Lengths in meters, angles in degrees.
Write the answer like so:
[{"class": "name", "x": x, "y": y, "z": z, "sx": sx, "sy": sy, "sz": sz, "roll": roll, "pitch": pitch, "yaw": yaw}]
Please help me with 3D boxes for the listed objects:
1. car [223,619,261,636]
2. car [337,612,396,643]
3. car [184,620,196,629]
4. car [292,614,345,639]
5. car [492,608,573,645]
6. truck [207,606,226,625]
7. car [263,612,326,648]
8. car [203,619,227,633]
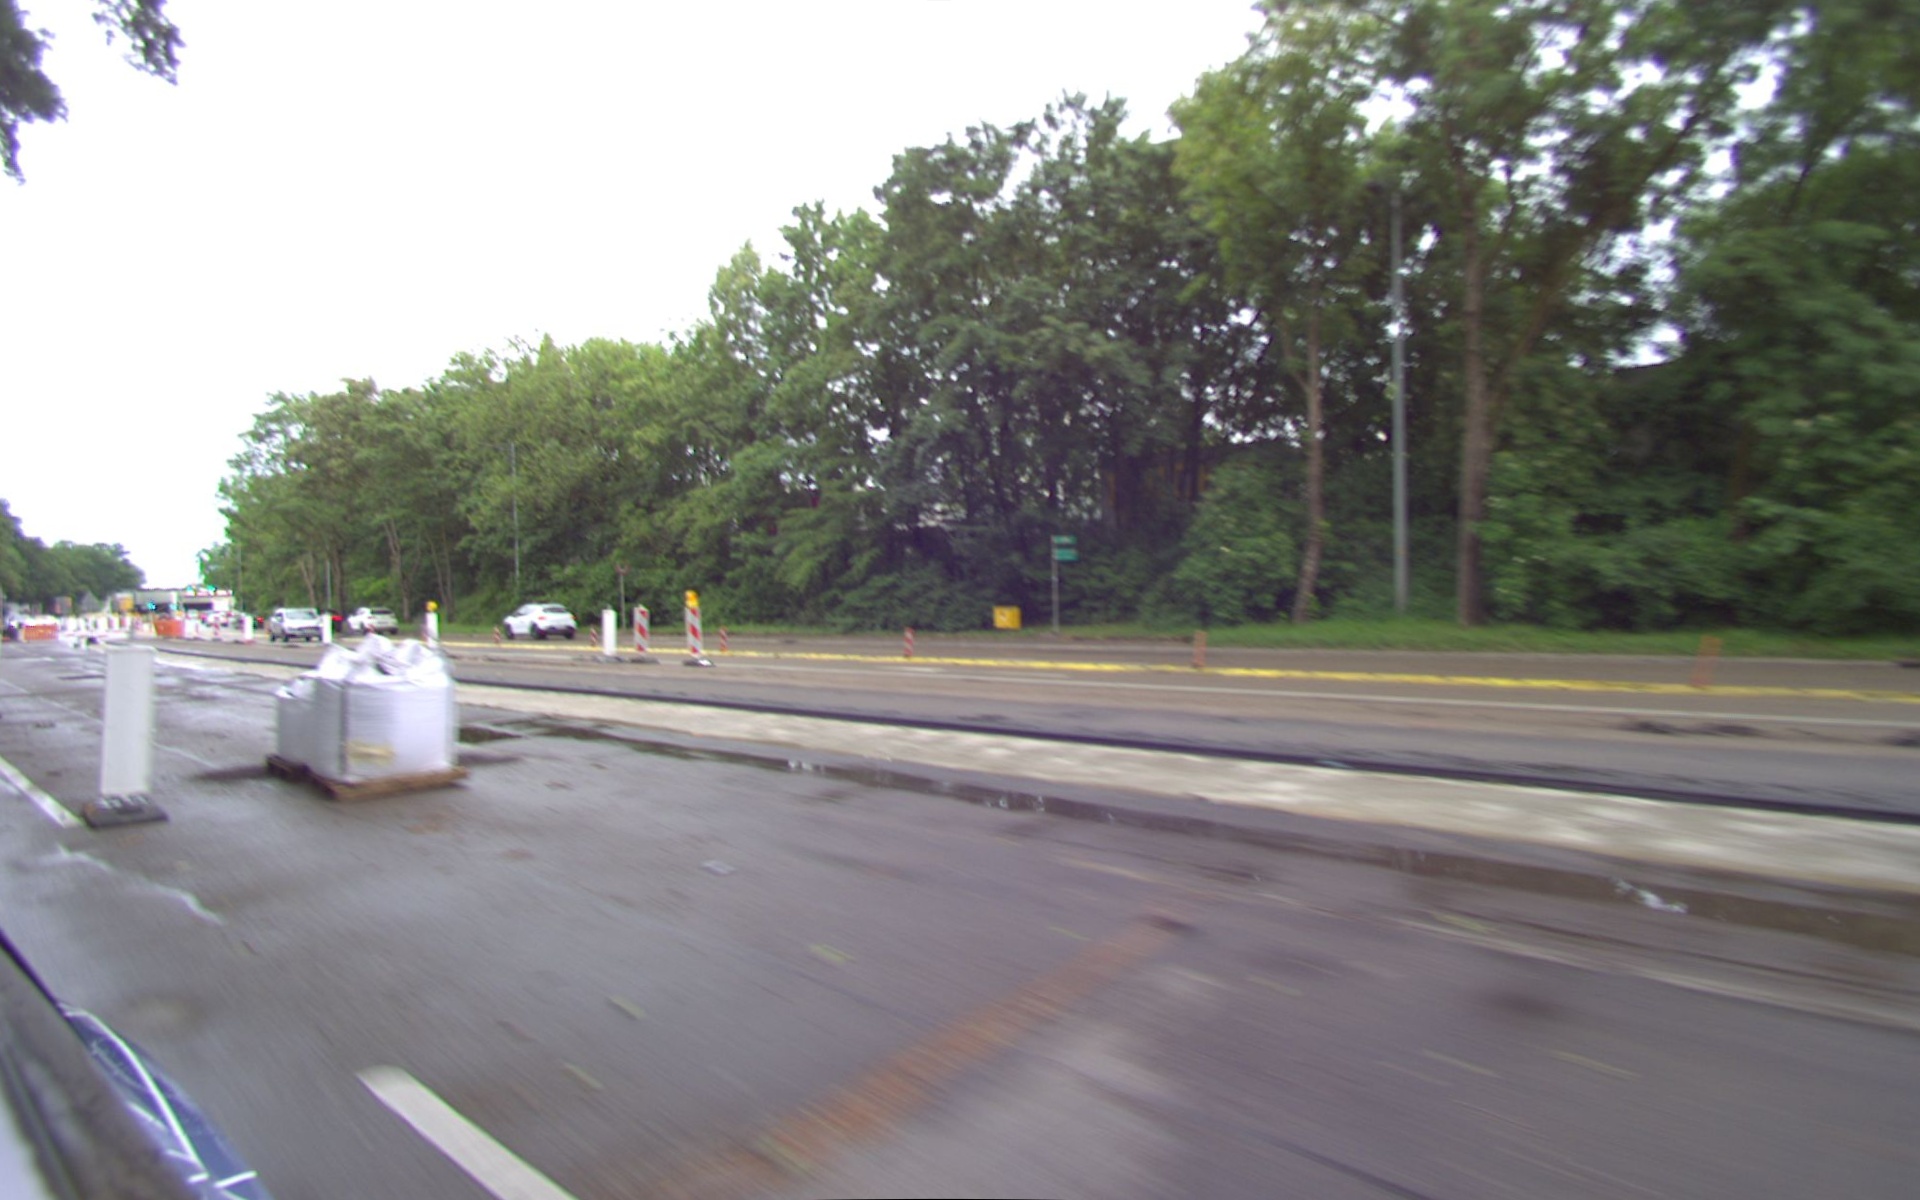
[{"class": "car", "x": -64.434, "y": 2.451, "z": 90.793, "sx": 4.681, "sy": 1.463, "sz": 1.765, "roll": -2, "pitch": -1, "yaw": 42}, {"class": "car", "x": -35.543, "y": 1.616, "z": 60.573, "sx": 4.377, "sy": 1.764, "sz": 1.758, "roll": -2, "pitch": -1, "yaw": 41}, {"class": "car", "x": -143.186, "y": 4.556, "z": 188.216, "sx": 1.653, "sy": 1.626, "sz": 3.777, "roll": 1, "pitch": -2, "yaw": -37}, {"class": "car", "x": -44.618, "y": 1.818, "z": 70.323, "sx": 4.912, "sy": 1.676, "sz": 1.758, "roll": -2, "pitch": -2, "yaw": 41}, {"class": "car", "x": -18.751, "y": 1.188, "z": 44.337, "sx": 4.156, "sy": 1.553, "sz": 1.649, "roll": -2, "pitch": -3, "yaw": 42}, {"class": "truck", "x": -157.072, "y": 3.190, "z": 213.851, "sx": 3.101, "sy": 3.860, "sz": 9.670, "roll": 0, "pitch": -1, "yaw": -35}, {"class": "car", "x": -32.325, "y": 1.435, "z": 49.125, "sx": 3.862, "sy": 1.596, "sz": 1.769, "roll": -2, "pitch": 0, "yaw": 44}, {"class": "car", "x": -81.600, "y": 2.878, "z": 110.818, "sx": 1.762, "sy": 1.437, "sz": 4.476, "roll": -1, "pitch": -1, "yaw": -40}]
